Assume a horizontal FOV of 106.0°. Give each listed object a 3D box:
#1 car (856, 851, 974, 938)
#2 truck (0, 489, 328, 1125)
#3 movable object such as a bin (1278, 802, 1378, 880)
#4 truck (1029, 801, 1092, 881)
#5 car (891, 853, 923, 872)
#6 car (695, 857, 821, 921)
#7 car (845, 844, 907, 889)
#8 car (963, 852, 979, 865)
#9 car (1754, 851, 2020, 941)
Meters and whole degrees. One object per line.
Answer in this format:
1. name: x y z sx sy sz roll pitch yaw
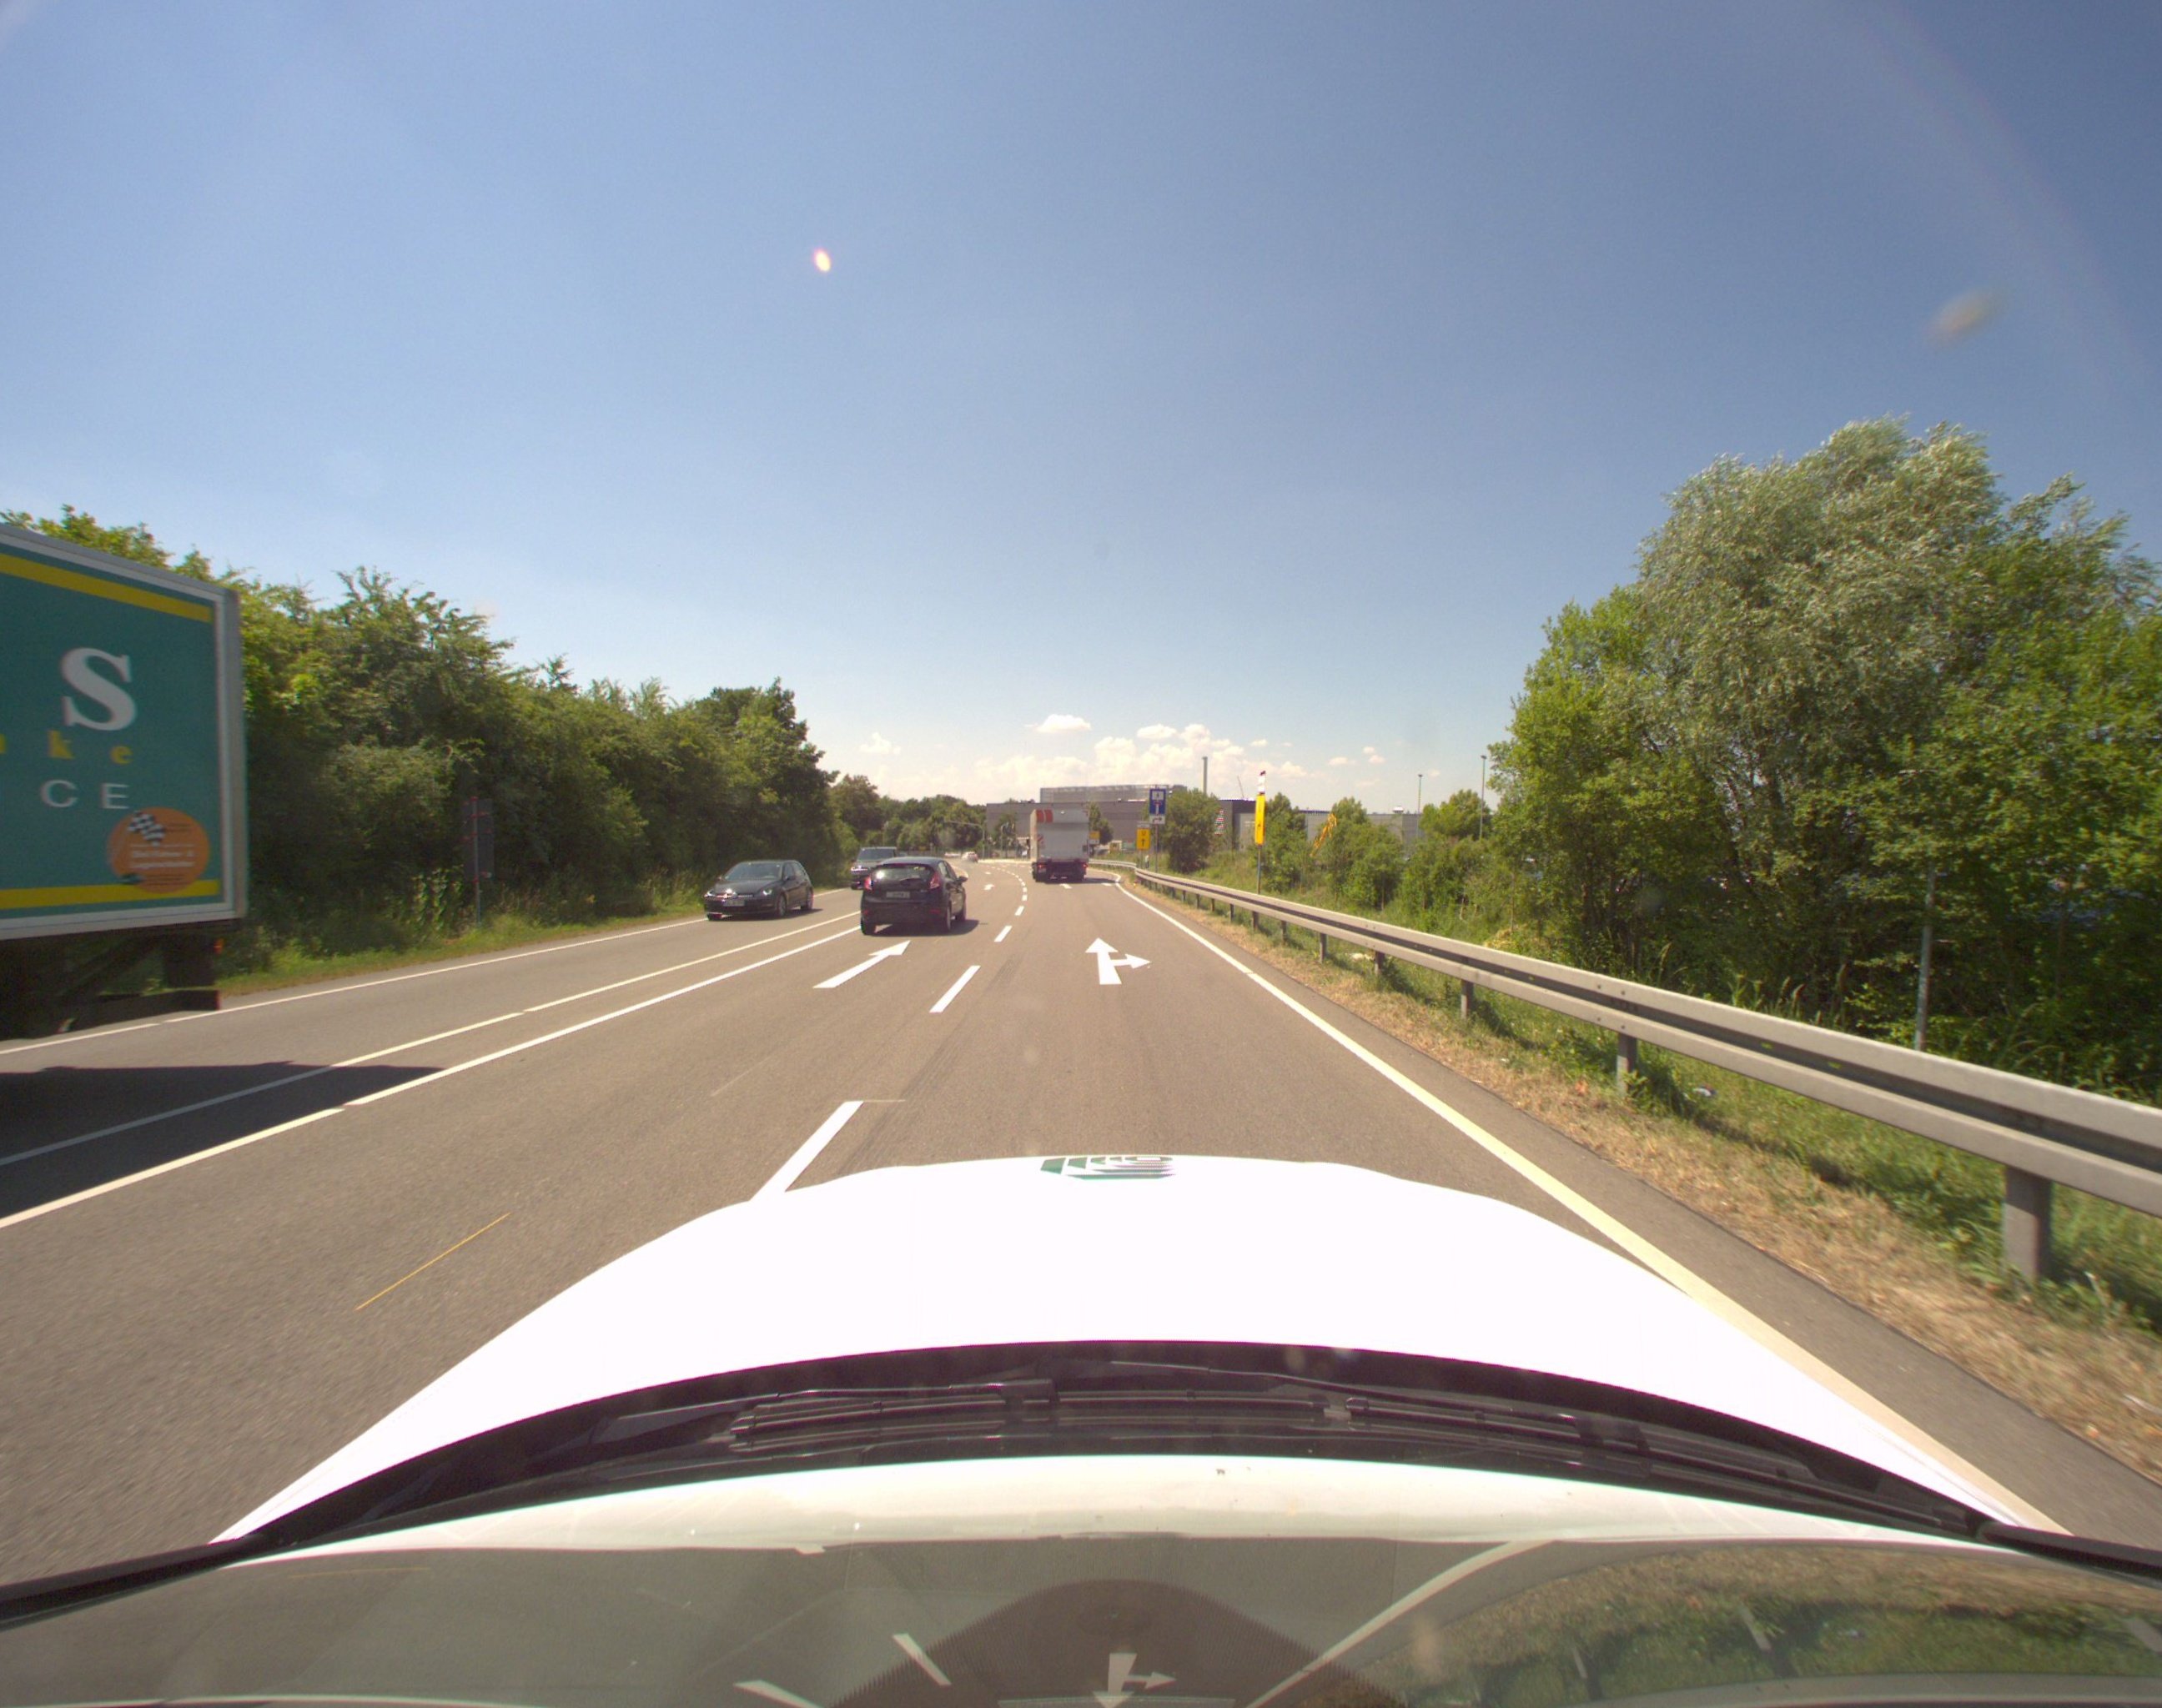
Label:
1. car: -3.322 0.741 17.051 1.648 1.493 4.206 0 2 -1
2. truck: -7.538 -0.227 1.780 2.859 3.574 9.432 -1 0 1
3. movable object such as a bin: 17.835 -1.102 59.675 3.422 5.259 9.207 1 3 -8
4. truck: -1.232 -0.686 42.653 2.799 3.710 9.094 0 1 -5
5. car: -13.707 0.643 64.452 1.814 1.442 4.636 -1 0 -5
6. car: -8.293 0.822 21.331 1.874 1.442 4.322 -1 0 -5
7. car: -9.535 0.525 38.223 1.990 1.894 5.095 -1 0 -5
8. car: -15.525 0.622 114.912 1.945 1.664 3.984 2 0 -12
9. car: 20.077 0.995 20.456 4.664 1.968 2.000 1 2 -1
